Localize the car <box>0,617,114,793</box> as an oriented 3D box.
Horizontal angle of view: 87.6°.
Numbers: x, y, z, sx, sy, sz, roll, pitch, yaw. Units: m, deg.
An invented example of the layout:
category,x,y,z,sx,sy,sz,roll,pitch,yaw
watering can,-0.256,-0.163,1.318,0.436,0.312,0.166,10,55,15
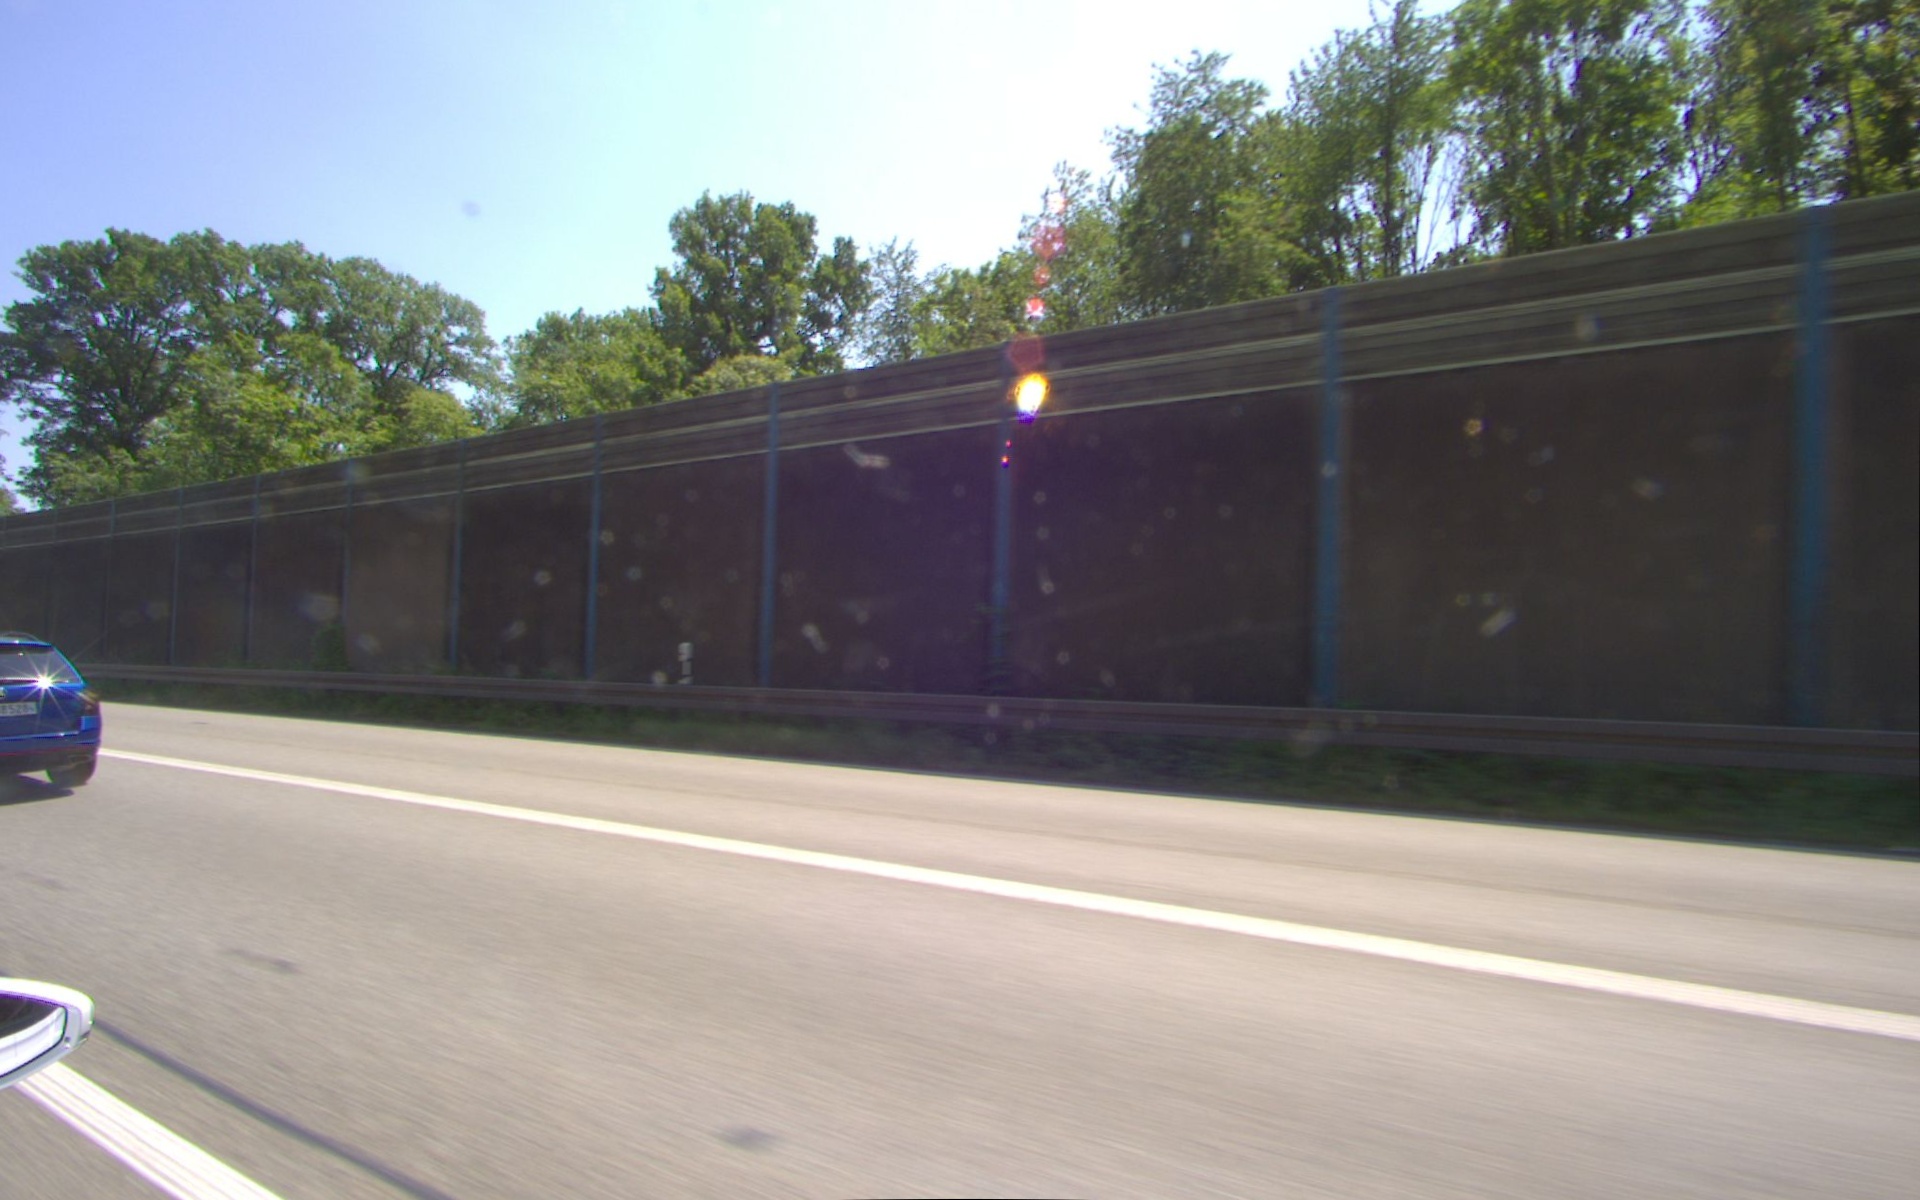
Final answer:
category,x,y,z,sx,sy,sz,roll,pitch,yaw
car,-10.121,0.972,9.690,4.417,1.501,1.648,-2,-2,31
